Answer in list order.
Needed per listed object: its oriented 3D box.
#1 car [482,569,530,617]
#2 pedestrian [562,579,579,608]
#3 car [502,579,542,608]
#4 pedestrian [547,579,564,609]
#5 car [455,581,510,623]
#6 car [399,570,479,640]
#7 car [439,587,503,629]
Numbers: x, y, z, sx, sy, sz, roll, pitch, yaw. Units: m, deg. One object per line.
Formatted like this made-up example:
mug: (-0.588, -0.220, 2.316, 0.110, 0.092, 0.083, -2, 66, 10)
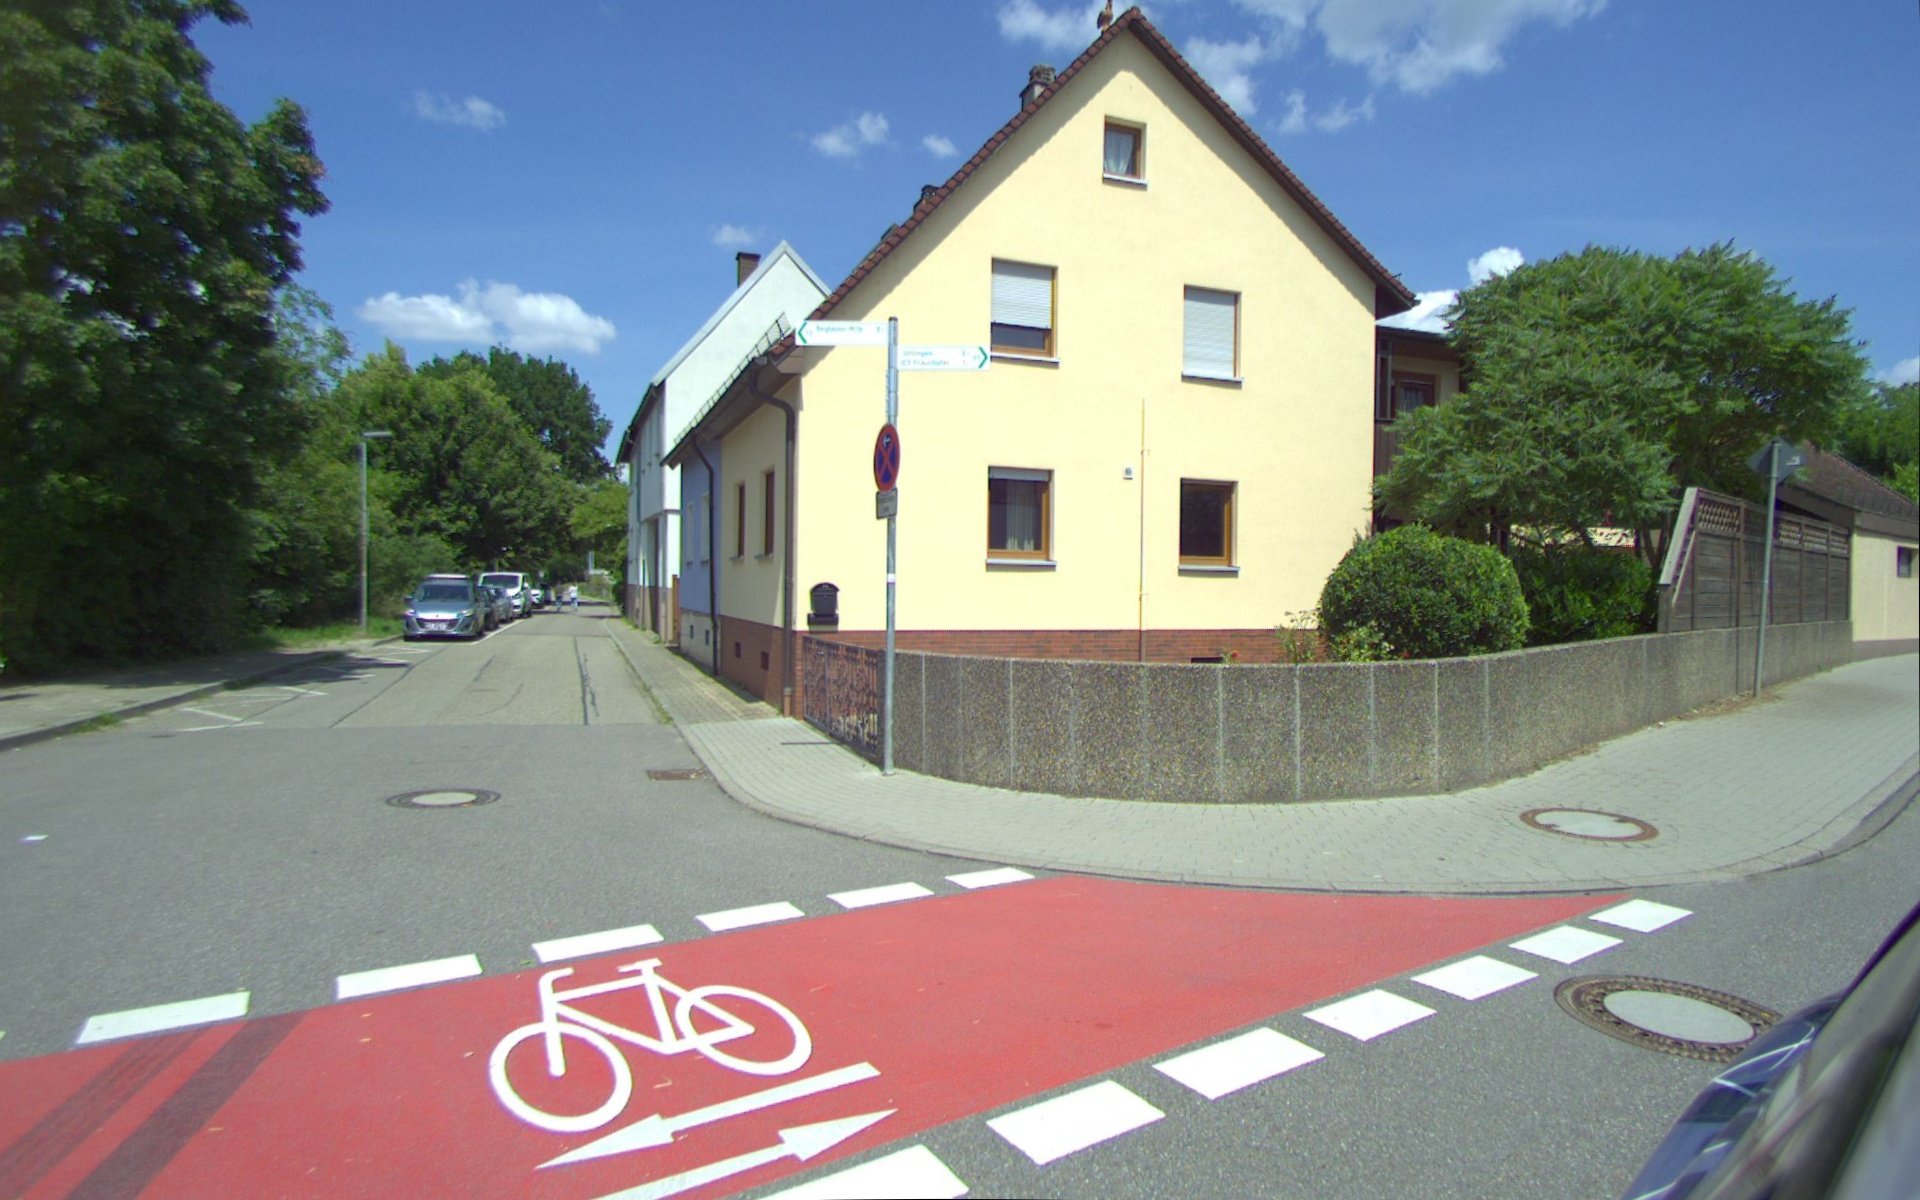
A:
car: (-19.653, -0.320, 43.771, 1.787, 1.946, 4.007, 0, 1, -25)
pedestrian: (-22.140, -0.346, 57.511, 0.777, 1.638, 0.690, 0, 0, -32)
car: (-25.985, -0.400, 60.177, 1.958, 1.616, 4.008, 0, 1, -20)
pedestrian: (-22.835, -0.335, 57.098, 0.777, 1.638, 0.690, 0, 0, -32)
car: (-18.220, 0.046, 38.654, 1.787, 1.484, 4.007, 0, 1, -25)
car: (-14.053, 0.095, 27.431, 1.788, 1.718, 4.267, 0, 1, -26)
car: (-15.962, 0.212, 33.137, 1.787, 1.286, 4.007, 0, 1, -25)
